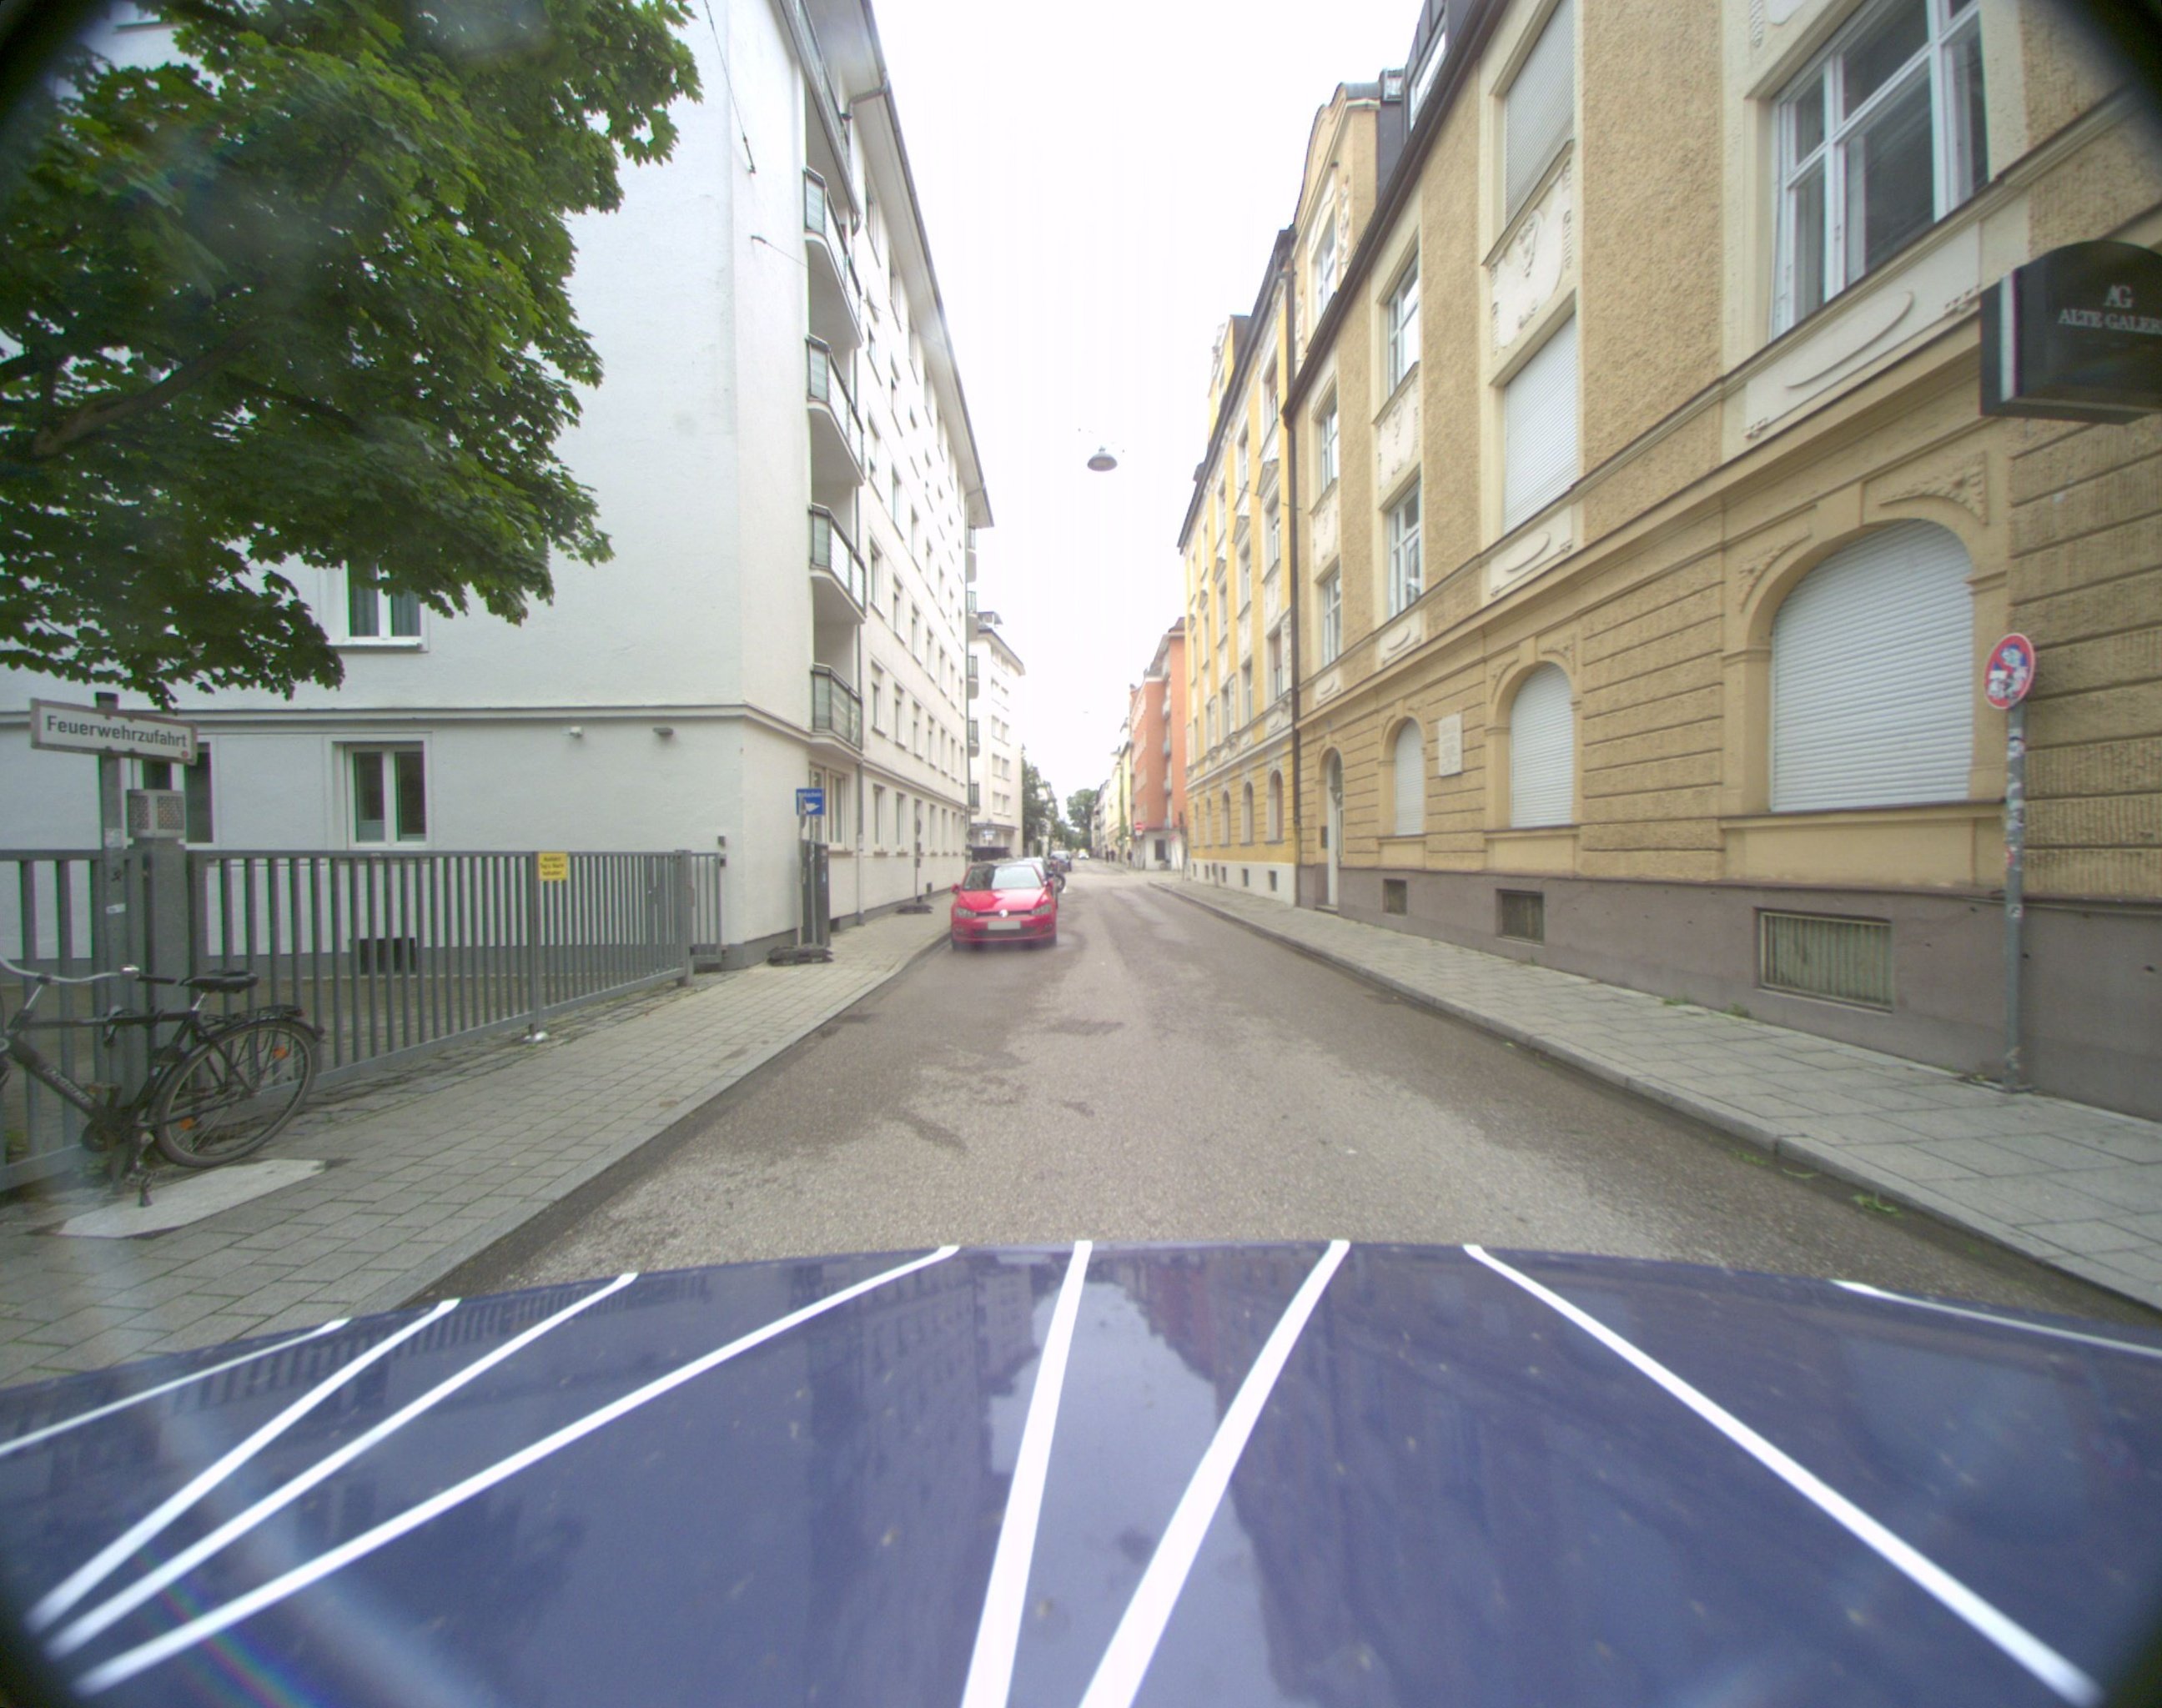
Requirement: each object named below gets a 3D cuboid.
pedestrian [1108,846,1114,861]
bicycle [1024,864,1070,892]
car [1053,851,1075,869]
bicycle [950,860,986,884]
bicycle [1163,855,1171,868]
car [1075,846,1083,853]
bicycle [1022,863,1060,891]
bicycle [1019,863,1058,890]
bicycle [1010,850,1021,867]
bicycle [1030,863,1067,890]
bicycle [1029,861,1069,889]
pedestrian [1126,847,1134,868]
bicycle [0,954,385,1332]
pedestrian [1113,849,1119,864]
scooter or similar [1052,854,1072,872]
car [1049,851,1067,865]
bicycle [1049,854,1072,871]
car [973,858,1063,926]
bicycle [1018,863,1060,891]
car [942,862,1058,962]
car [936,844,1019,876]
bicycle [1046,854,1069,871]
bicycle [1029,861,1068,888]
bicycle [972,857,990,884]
[{"bbox_3d":[3.590,-0.071,91.504,0.726,1.783,0.829,0,1,0],"label":"pedestrian"},{"bbox_3d":[-1.310,0.912,29.199,1.707,1.037,0.360,1,1,0],"label":"bicycle"},{"bbox_3d":[-1.324,0.464,60.510,1.654,1.390,3.999,0,1,0],"label":"car"},{"bbox_3d":[-4.962,0.802,33.407,1.503,1.037,0.398,1,1,-19],"label":"bicycle"},{"bbox_3d":[6.236,0.539,54.916,0.391,0.932,1.540,0,0,0],"label":"bicycle"},{"bbox_3d":[-0.582,-1.171,202.893,1.999,2.002,4.646,-1,0,-1],"label":"car"},{"bbox_3d":[-1.562,0.905,29.663,1.438,1.037,0.330,2,1,8],"label":"bicycle"},{"bbox_3d":[-1.711,0.892,30.574,1.520,1.037,0.360,2,1,8],"label":"bicycle"},{"bbox_3d":[-4.869,0.337,56.553,0.528,1.207,1.610,0,1,8],"label":"bicycle"},{"bbox_3d":[-1.304,0.895,30.915,1.441,1.037,0.360,2,1,8],"label":"bicycle"},{"bbox_3d":[-1.368,0.894,32.585,1.699,1.154,0.378,-1,1,-1],"label":"bicycle"},{"bbox_3d":[4.003,0.254,62.167,0.613,1.684,0.565,0,1,-1],"label":"pedestrian"},{"bbox_3d":[-4.148,1.106,3.209,0.709,1.191,1.834,-1,-2,0],"label":"bicycle"},{"bbox_3d":[4.236,0.266,91.569,0.699,1.783,0.763,0,1,0],"label":"pedestrian"},{"bbox_3d":[-1.307,0.630,52.689,1.340,1.207,0.344,0,1,2],"label":"scooter or similar"},{"bbox_3d":[-2.217,0.376,75.358,1.654,1.390,3.999,0,1,0],"label":"car"},{"bbox_3d":[-1.474,0.612,54.113,1.608,1.207,0.529,0,1,2],"label":"bicycle"},{"bbox_3d":[-1.484,0.876,19.436,1.799,1.430,4.383,-2,1,1],"label":"car"},{"bbox_3d":[-1.650,0.901,30.024,1.590,1.037,0.323,2,1,8],"label":"bicycle"},{"bbox_3d":[-1.507,0.938,14.155,1.766,1.438,4.296,-2,1,-6],"label":"car"},{"bbox_3d":[-6.342,0.385,46.675,4.676,1.880,1.935,0,0,8],"label":"car"},{"bbox_3d":[-1.711,0.606,54.683,1.608,1.207,0.529,0,1,2],"label":"bicycle"},{"bbox_3d":[-1.411,0.889,32.983,1.699,1.154,0.378,-1,1,-1],"label":"bicycle"},{"bbox_3d":[-4.655,0.751,35.258,0.399,1.198,1.502,1,1,-25],"label":"bicycle"}]
